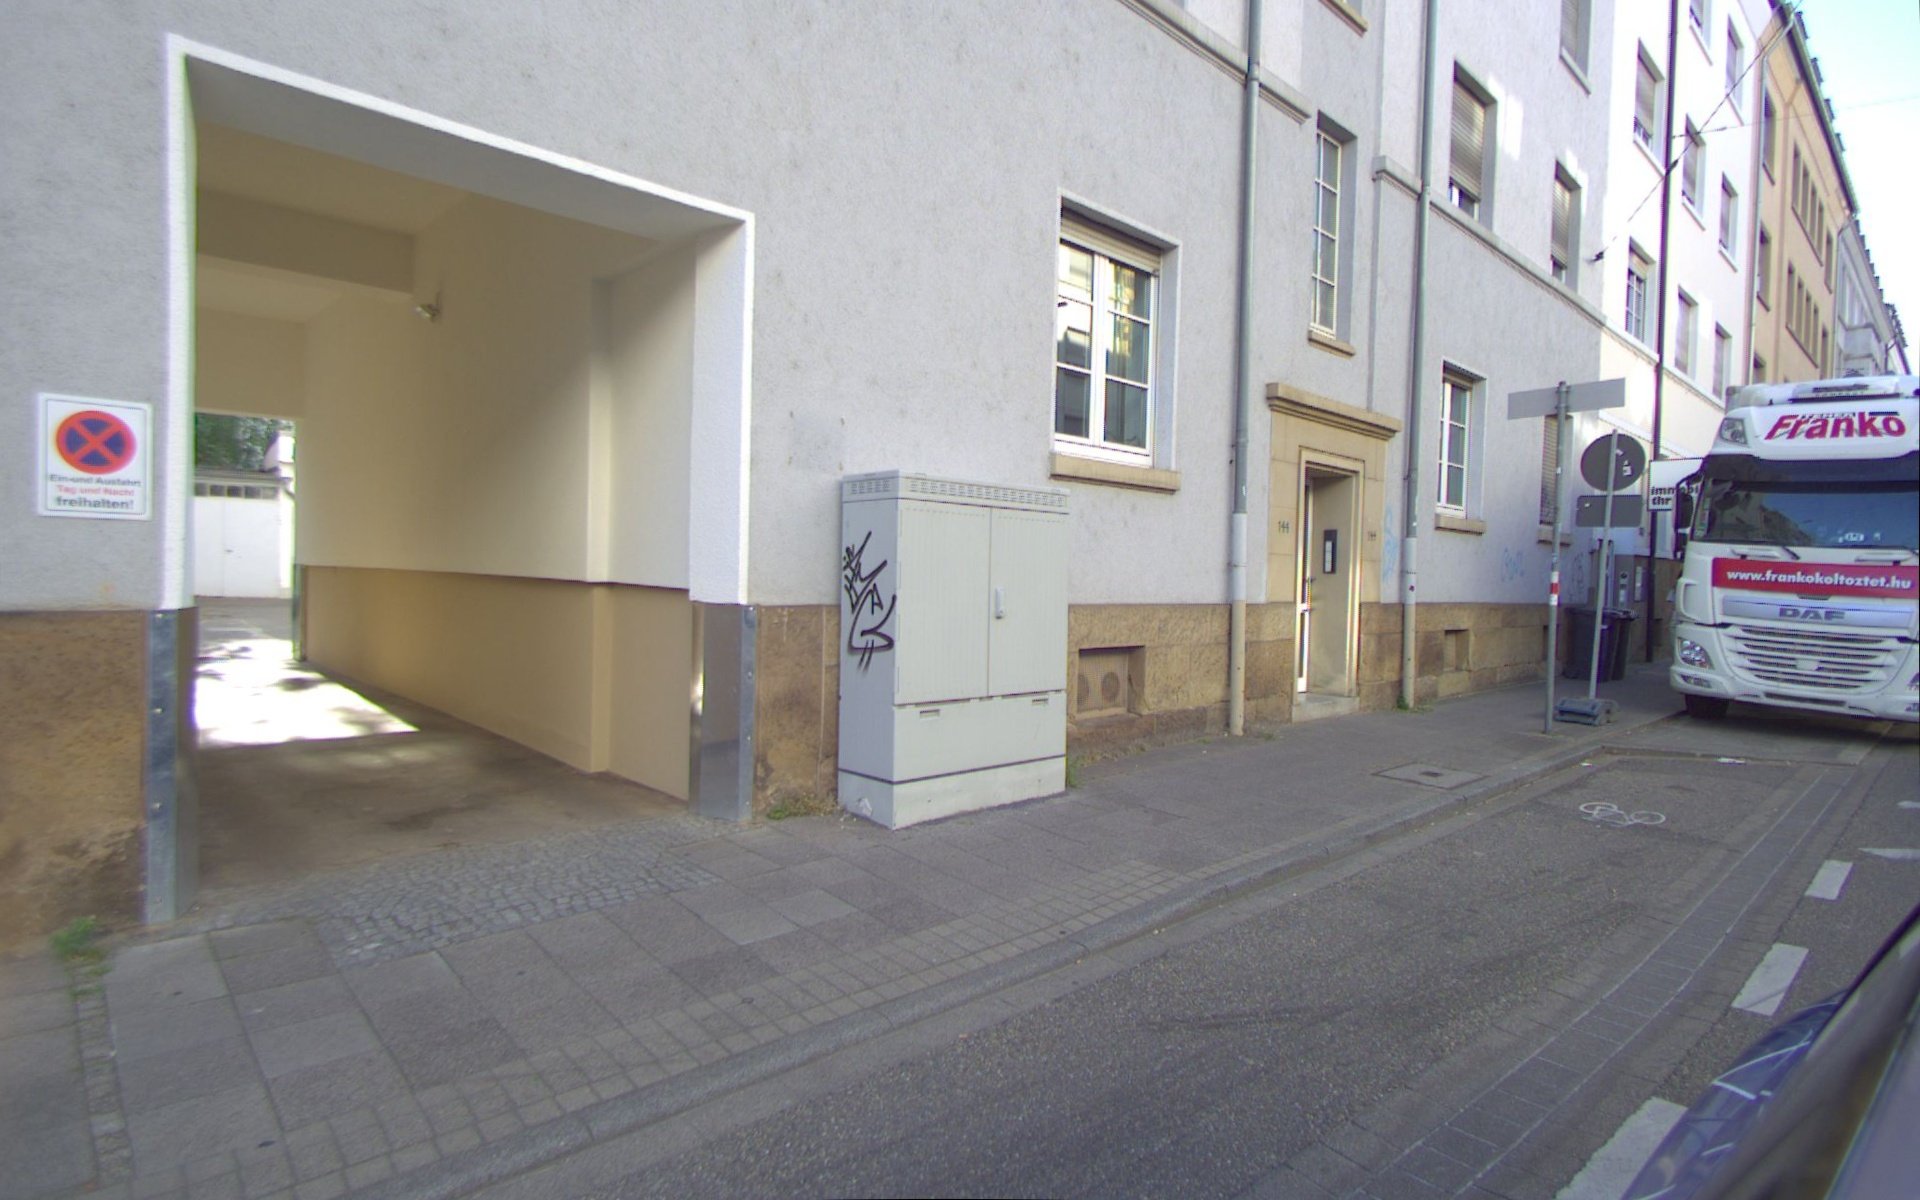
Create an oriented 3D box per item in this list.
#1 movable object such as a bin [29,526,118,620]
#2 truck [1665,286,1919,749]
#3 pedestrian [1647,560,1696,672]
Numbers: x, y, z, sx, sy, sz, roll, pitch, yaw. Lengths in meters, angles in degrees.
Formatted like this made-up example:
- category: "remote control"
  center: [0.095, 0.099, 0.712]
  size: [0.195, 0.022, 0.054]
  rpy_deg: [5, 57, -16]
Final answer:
- category: "movable object such as a bin"
  center: [-14.940, -0.444, 17.075]
  size: [1.091, 1.512, 1.328]
  rpy_deg: [-1, 0, -41]
- category: "truck"
  center: [12.760, -0.896, 13.766]
  size: [11.579, 4.290, 2.697]
  rpy_deg: [-1, 3, -43]
- category: "pedestrian"
  center: [10.741, 0.221, 15.280]
  size: [0.459, 1.649, 0.475]
  rpy_deg: [0, 2, -41]
